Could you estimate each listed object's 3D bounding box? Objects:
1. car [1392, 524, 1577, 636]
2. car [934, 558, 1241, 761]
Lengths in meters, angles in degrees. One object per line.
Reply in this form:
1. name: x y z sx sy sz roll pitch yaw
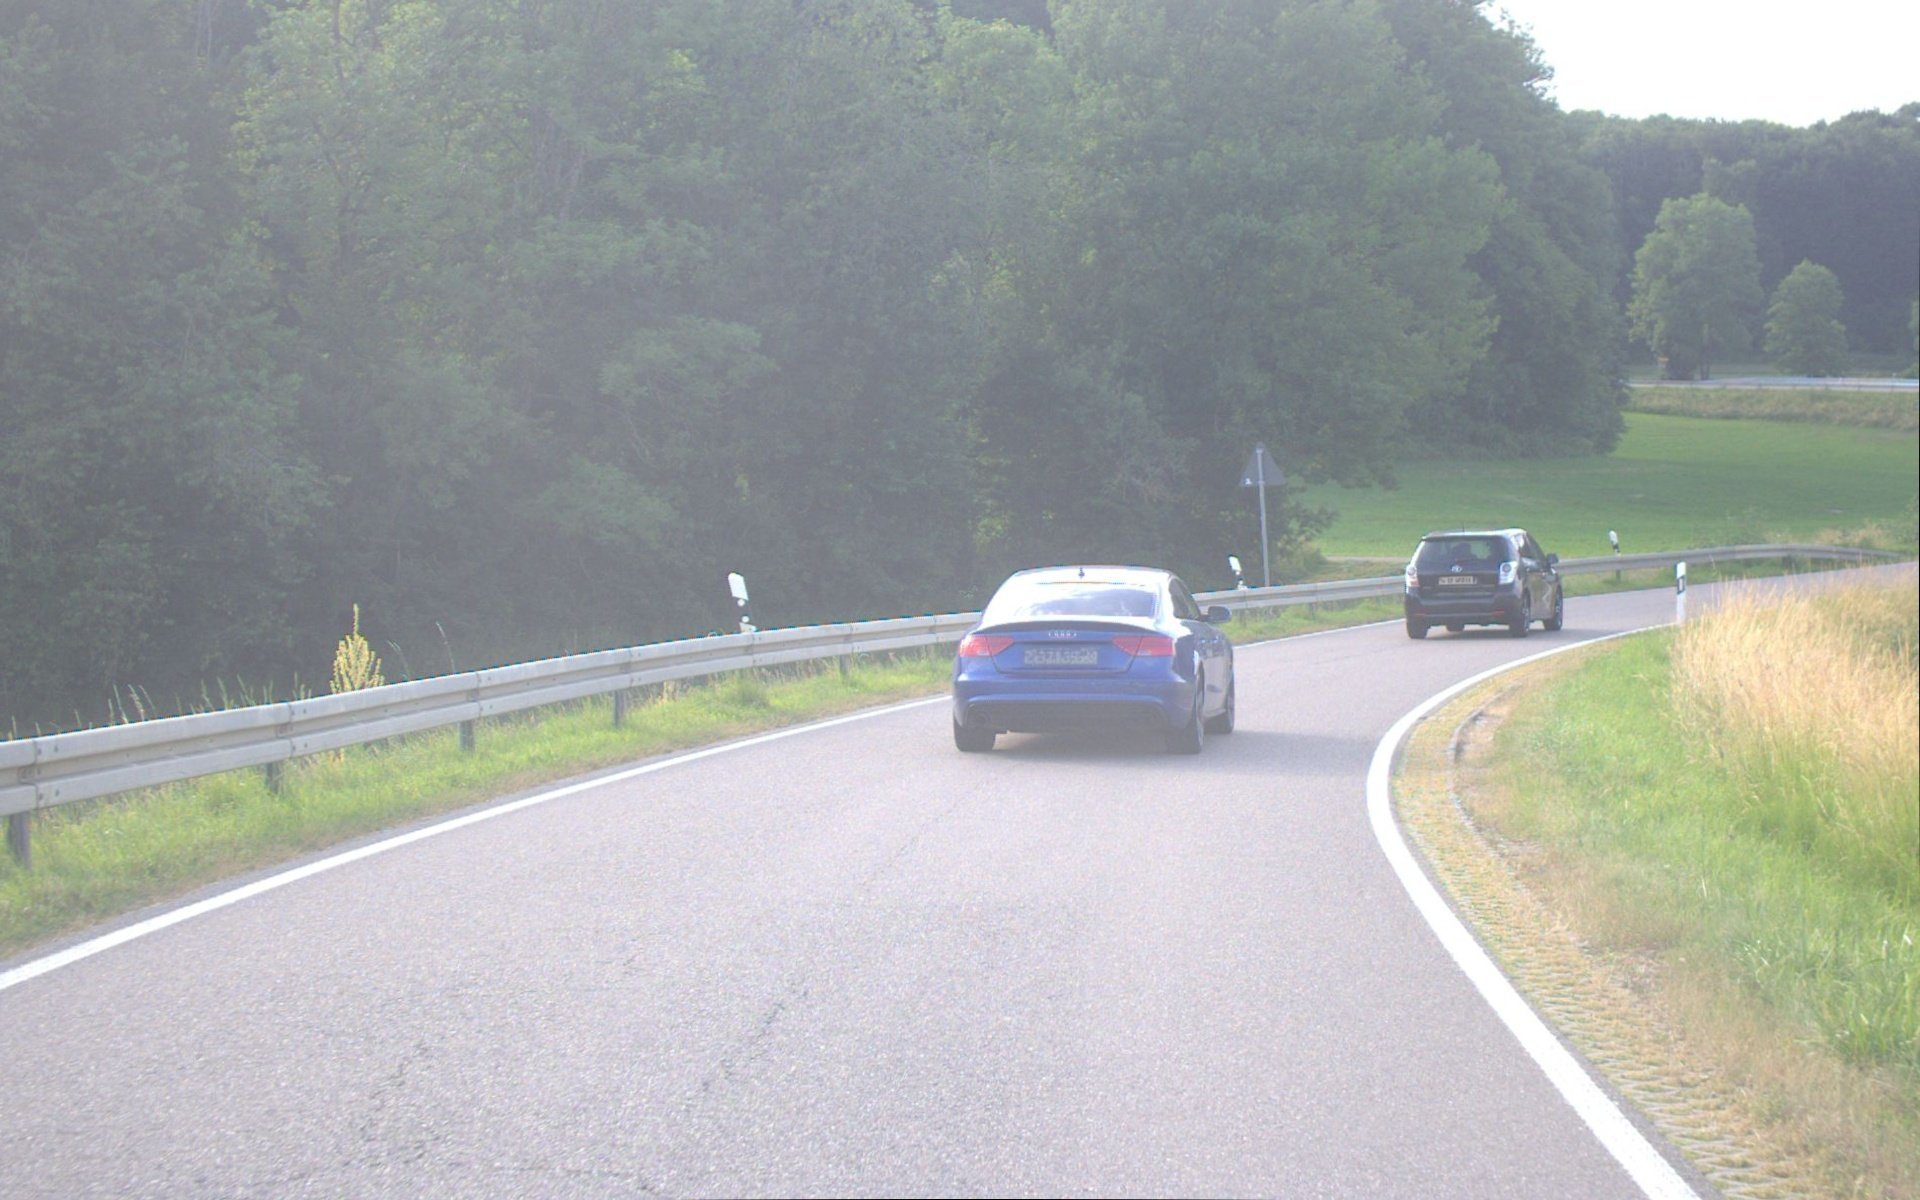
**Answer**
1. car: 7.954 -0.323 51.860 1.864 1.563 3.996 -1 1 22
2. car: 1.070 0.392 26.486 1.819 1.334 4.349 1 2 9
